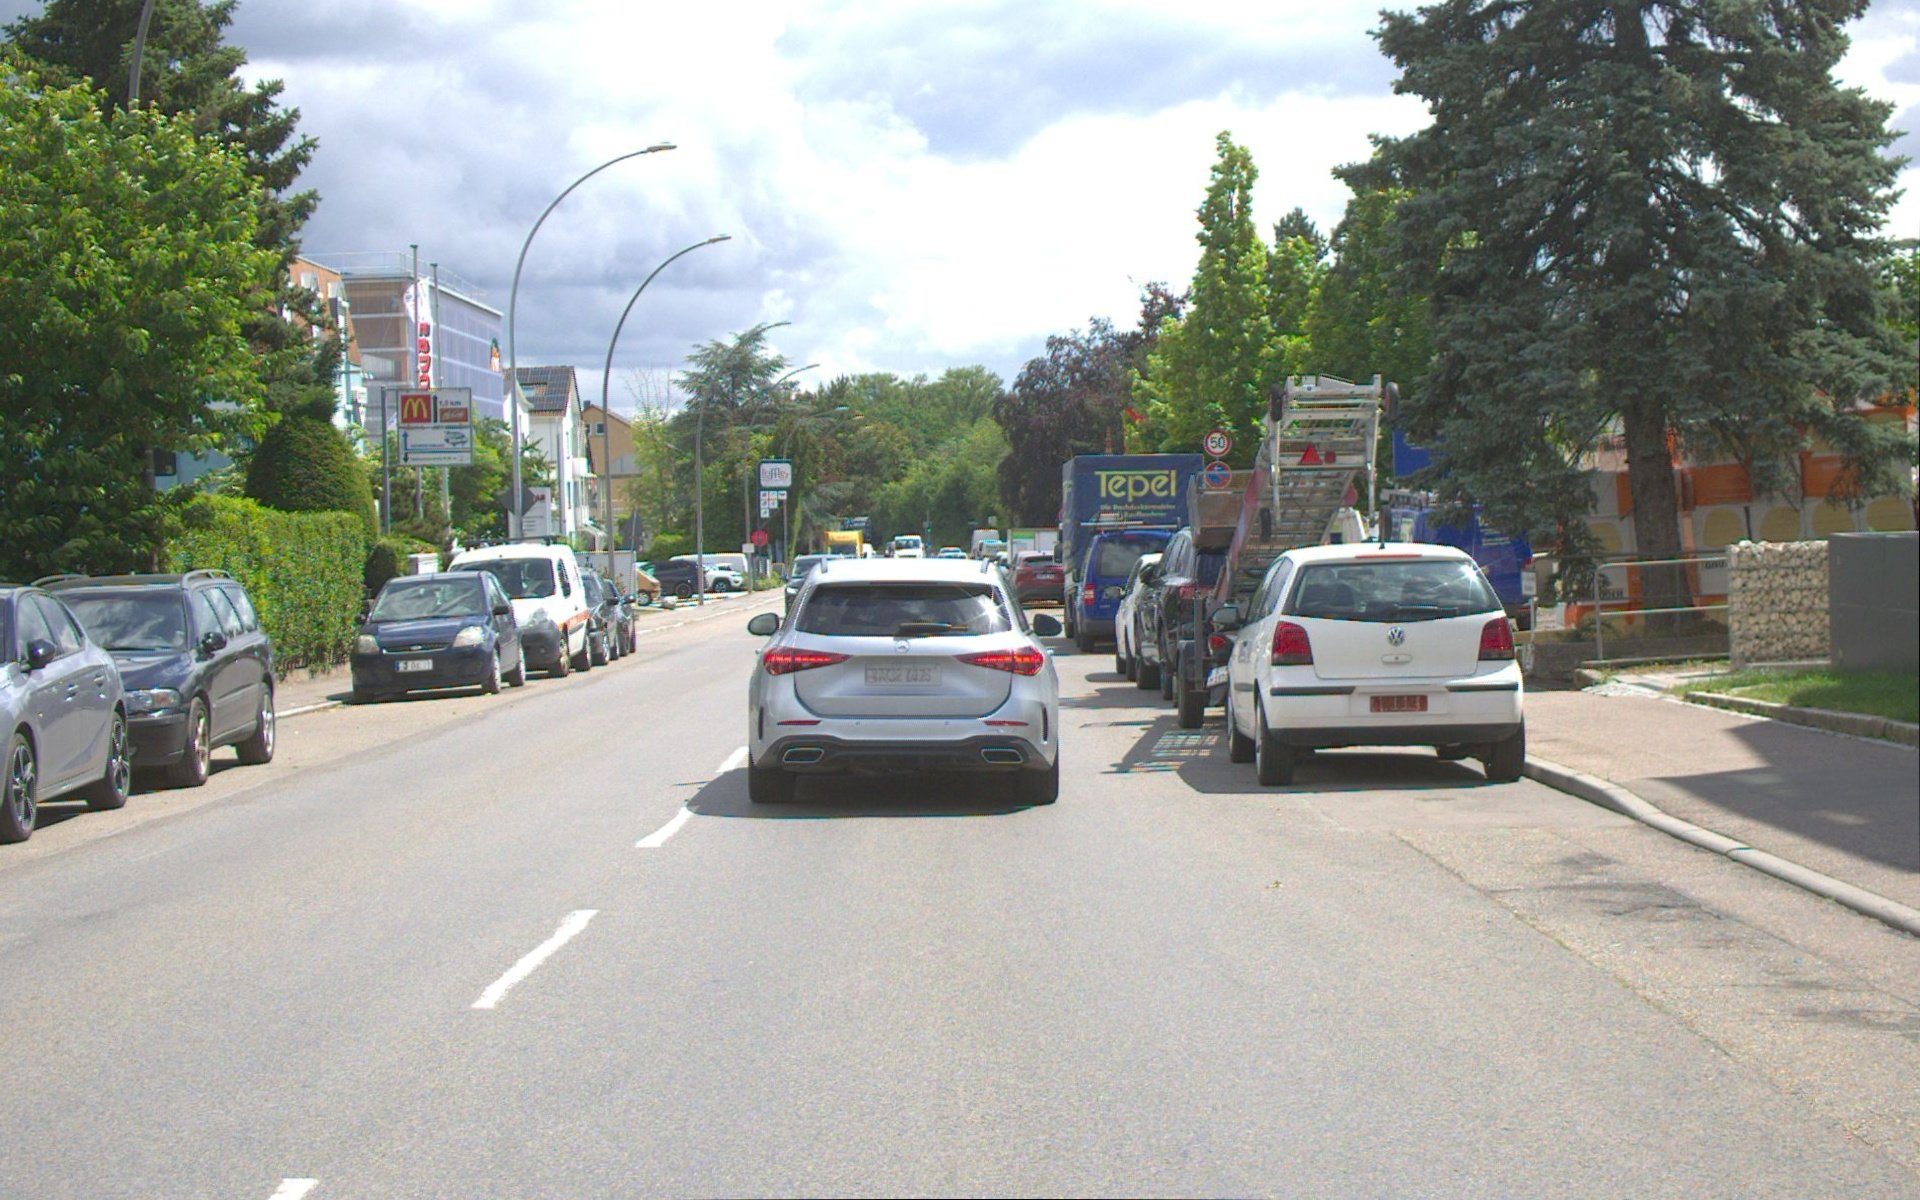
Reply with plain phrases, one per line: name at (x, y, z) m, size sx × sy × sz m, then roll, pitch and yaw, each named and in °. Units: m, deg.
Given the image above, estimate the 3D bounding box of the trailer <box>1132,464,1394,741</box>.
trailer at (2.509, -0.013, 29.338) m, size 1.773 × 2.137 × 4.114 m, roll -2°, pitch 1°, yaw -1°

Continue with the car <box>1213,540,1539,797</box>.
car at (2.628, 0.375, 22.507) m, size 1.719 × 1.427 × 3.983 m, roll -3°, pitch 1°, yaw 2°

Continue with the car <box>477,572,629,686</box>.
car at (-6.091, 0.395, 51.913) m, size 1.743 × 1.467 × 4.644 m, roll -5°, pitch 1°, yaw -1°

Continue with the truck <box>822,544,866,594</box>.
truck at (-6.853, -1.882, 203.580) m, size 2.075 × 2.804 × 7.078 m, roll -3°, pitch 1°, yaw 1°

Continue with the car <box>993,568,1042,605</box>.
car at (2.425, -0.588, 146.264) m, size 1.791 × 1.445 × 4.364 m, roll -3°, pitch 1°, yaw -2°

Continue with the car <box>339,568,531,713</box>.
car at (-6.175, 0.435, 40.789) m, size 1.639 × 1.482 × 4.000 m, roll -5°, pitch 1°, yaw -1°

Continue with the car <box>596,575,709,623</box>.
car at (-13.094, -0.060, 146.768) m, size 4.626 × 1.627 × 2.198 m, roll -5°, pitch 1°, yaw -3°

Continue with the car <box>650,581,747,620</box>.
car at (-12.112, 0.020, 159.209) m, size 4.279 × 1.561 × 1.991 m, roll -2°, pitch -3°, yaw 1°

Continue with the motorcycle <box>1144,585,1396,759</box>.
motorcycle at (2.340, 0.524, 25.872) m, size 1.817 × 1.205 × 0.717 m, roll -3°, pitch 1°, yaw -35°

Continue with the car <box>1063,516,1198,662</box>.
car at (2.594, -0.195, 53.165) m, size 1.873 × 2.161 × 4.464 m, roll 0°, pitch 1°, yaw 0°

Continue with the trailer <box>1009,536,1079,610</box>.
trailer at (2.678, -0.867, 110.467) m, size 1.941 × 2.286 × 4.446 m, roll -2°, pitch 0°, yaw -1°

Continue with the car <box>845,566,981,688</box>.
car at (-0.644, 0.338, 47.353) m, size 1.755 × 1.553 × 4.000 m, roll -1°, pitch 1°, yaw -1°

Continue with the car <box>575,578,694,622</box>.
car at (-11.611, -0.004, 122.964) m, size 4.149 × 1.486 × 1.826 m, roll 1°, pitch 1°, yaw -3°

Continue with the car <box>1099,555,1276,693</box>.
car at (2.679, 0.245, 41.251) m, size 1.773 × 1.503 × 4.000 m, roll -2°, pitch 1°, yaw 0°

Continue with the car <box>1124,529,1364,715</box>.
car at (2.842, 0.179, 35.406) m, size 1.873 × 1.721 × 4.713 m, roll -2°, pitch 1°, yaw -2°

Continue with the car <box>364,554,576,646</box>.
car at (-11.332, -0.014, 79.807) m, size 4.651 × 1.965 × 2.116 m, roll -2°, pitch 1°, yaw -3°

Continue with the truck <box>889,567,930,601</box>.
truck at (-3.384, -1.105, 231.976) m, size 2.319 × 2.171 × 6.448 m, roll -2°, pitch 1°, yaw 2°

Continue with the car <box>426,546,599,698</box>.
car at (-6.022, 0.252, 46.712) m, size 1.743 × 1.832 × 4.356 m, roll -5°, pitch 1°, yaw -1°

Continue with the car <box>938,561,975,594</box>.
car at (-0.205, -1.135, 169.778) m, size 1.755 × 1.553 × 4.000 m, roll -1°, pitch 1°, yaw -1°

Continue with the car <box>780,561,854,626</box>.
car at (-3.711, -0.194, 89.806) m, size 1.743 × 1.622 × 4.356 m, roll -1°, pitch 1°, yaw 0°

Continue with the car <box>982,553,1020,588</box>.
car at (2.424, -1.766, 205.012) m, size 2.144 × 1.977 × 5.261 m, roll -2°, pitch 1°, yaw 0°

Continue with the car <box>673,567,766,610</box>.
car at (-11.513, -0.540, 164.505) m, size 4.279 × 1.830 × 1.991 m, roll -2°, pitch -3°, yaw -1°

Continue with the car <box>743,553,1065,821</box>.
car at (-0.378, 0.455, 21.322) m, size 1.784 × 1.479 × 4.317 m, roll 0°, pitch 1°, yaw -2°

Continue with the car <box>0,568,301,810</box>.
car at (-6.027, 0.568, 24.794) m, size 1.719 × 1.488 × 4.736 m, roll -3°, pitch 1°, yaw -2°

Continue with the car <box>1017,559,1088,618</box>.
car at (2.681, -0.345, 99.148) m, size 1.941 × 1.566 × 4.445 m, roll -2°, pitch 1°, yaw 2°

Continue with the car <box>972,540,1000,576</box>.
car at (1.812, -2.962, 242.596) m, size 1.784 × 2.510 × 4.317 m, roll 0°, pitch 0°, yaw -2°

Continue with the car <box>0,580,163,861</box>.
car at (-5.980, 0.666, 20.079) m, size 1.719 × 1.427 × 4.200 m, roll -3°, pitch 1°, yaw -2°

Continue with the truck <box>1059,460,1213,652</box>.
truck at (2.938, -0.759, 58.697) m, size 2.320 × 3.086 × 6.042 m, roll 0°, pitch 1°, yaw 0°

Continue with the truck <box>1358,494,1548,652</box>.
truck at (7.318, -0.470, 51.531) m, size 1.829 × 2.074 × 5.386 m, roll -5°, pitch 2°, yaw -1°
